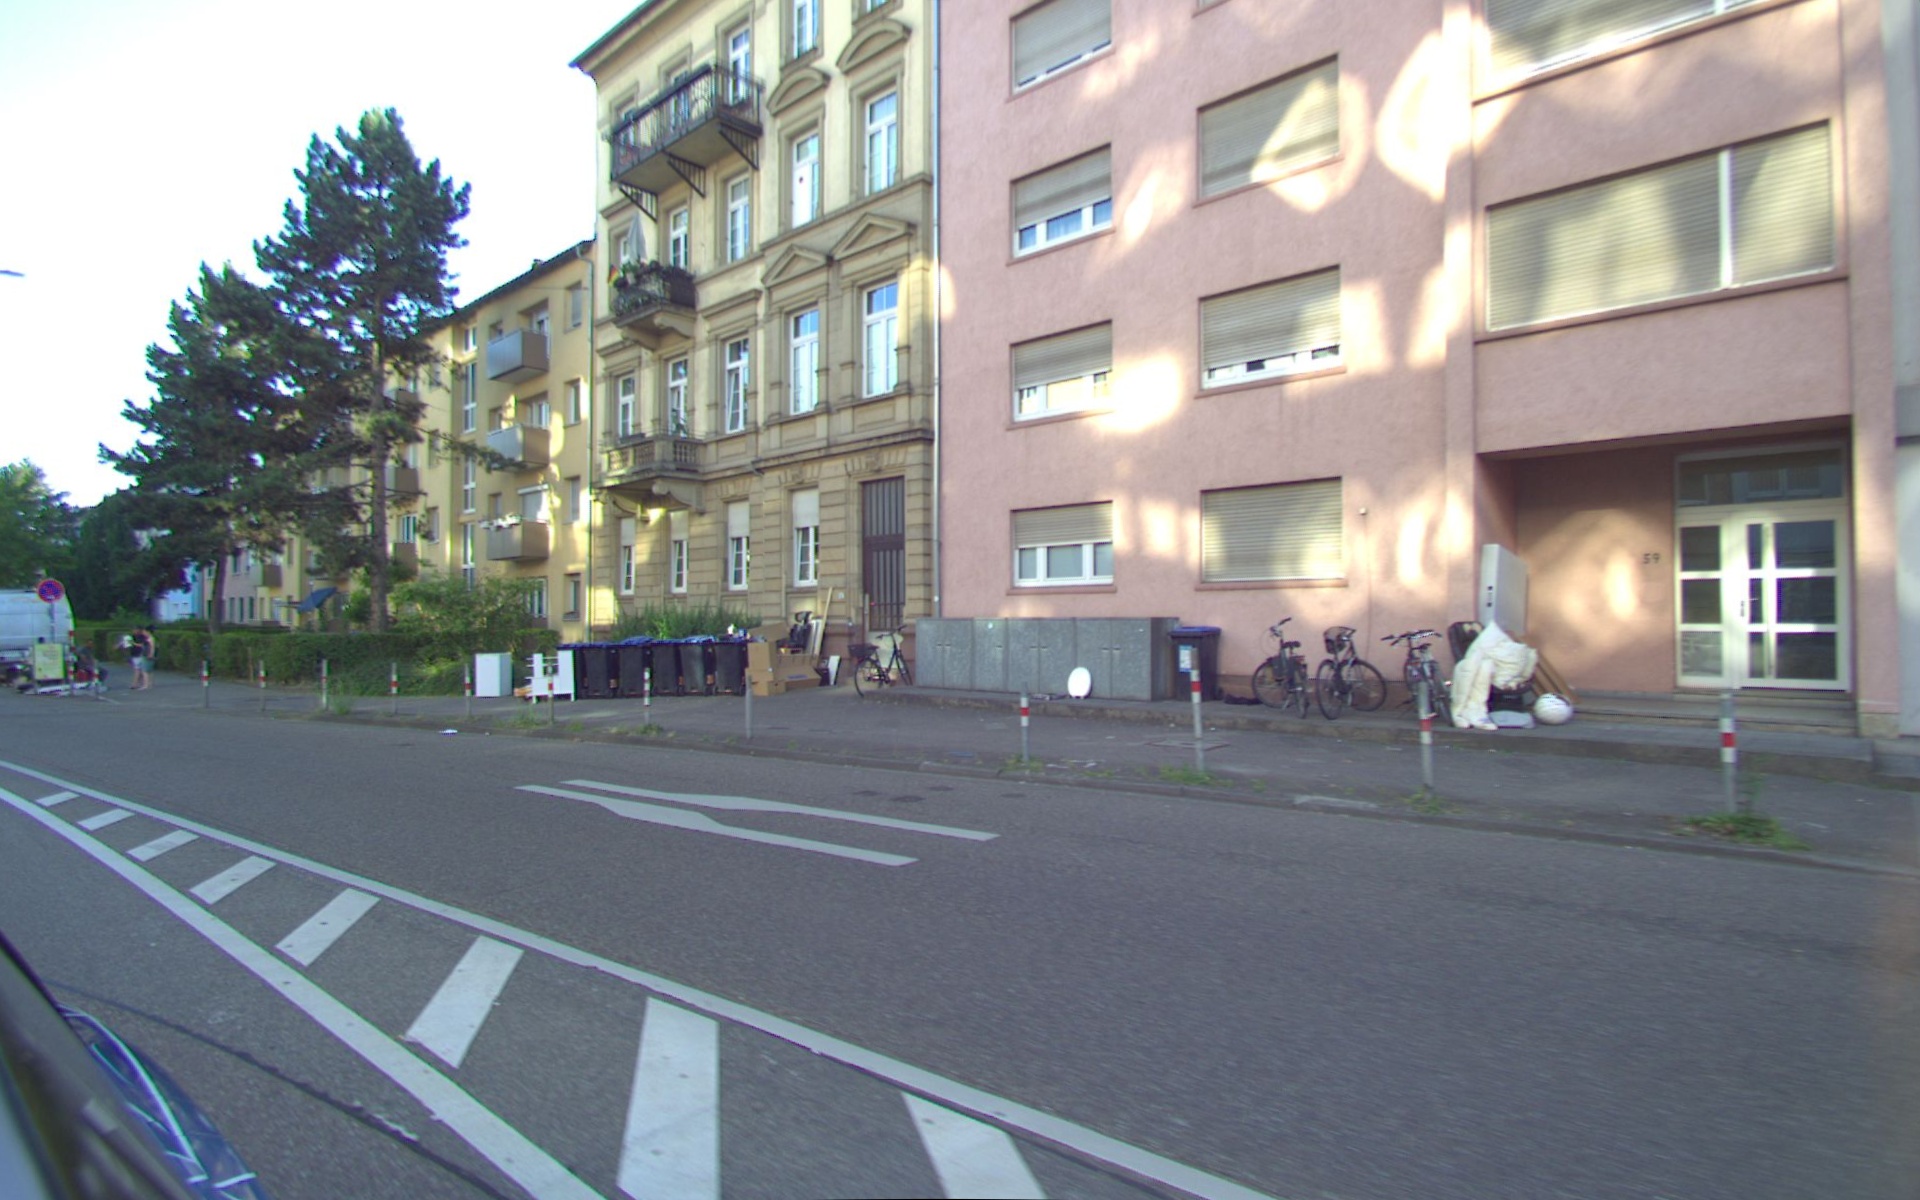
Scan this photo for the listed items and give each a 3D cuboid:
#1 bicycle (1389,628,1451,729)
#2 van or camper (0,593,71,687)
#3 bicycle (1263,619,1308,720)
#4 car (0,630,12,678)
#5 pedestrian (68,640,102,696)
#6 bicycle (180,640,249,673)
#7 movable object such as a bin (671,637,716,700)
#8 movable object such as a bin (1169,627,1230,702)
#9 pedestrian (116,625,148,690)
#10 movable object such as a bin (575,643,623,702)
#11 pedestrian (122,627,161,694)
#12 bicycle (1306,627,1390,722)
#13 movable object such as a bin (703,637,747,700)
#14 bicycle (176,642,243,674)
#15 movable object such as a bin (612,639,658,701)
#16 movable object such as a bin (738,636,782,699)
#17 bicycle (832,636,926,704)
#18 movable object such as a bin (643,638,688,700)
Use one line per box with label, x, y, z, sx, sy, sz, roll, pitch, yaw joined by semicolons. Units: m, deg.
bicycle;5.397;0.875;11.832;0.547;1.048;1.659;-1;0;28
van or camper;-29.379;1.209;31.264;6.011;2.684;2.015;-2;0;41
bicycle;4.115;0.843;12.854;0.492;1.169;1.666;-1;0;17
car;-33.160;1.842;34.298;2.763;1.560;1.388;-2;0;44
pedestrian;-22.316;1.725;25.819;0.480;1.388;0.553;-2;-1;37
bicycle;-24.492;1.834;33.275;0.590;0.989;1.765;-2;-1;44
movable object such as a bin;-4.963;1.275;18.861;0.578;1.119;0.639;-1;0;13
movable object such as a bin;3.444;0.907;14.555;0.589;1.039;0.667;-2;-2;43
pedestrian;-21.433;1.481;26.194;0.724;1.664;0.475;-2;-2;37
movable object such as a bin;-6.906;1.381;19.383;0.621;1.076;0.639;-1;0;13
pedestrian;-20.827;1.534;25.752;0.696;1.664;0.599;-2;-2;37
bicycle;4.767;0.870;12.372;0.548;1.048;1.655;-1;0;36
movable object such as a bin;-4.364;1.270;18.810;0.578;1.119;0.639;-1;0;13
bicycle;-25.041;1.924;33.787;0.590;0.989;1.739;-2;-1;44
movable object such as a bin;-6.190;1.326;19.294;0.578;1.119;0.639;-1;0;13
movable object such as a bin;-3.707;1.236;18.766;0.578;1.119;0.639;-1;0;13
bicycle;-1.429;1.220;18.061;0.662;0.974;1.632;-2;3;41
movable object such as a bin;-5.565;1.303;19.144;0.578;1.119;0.639;-1;0;13
